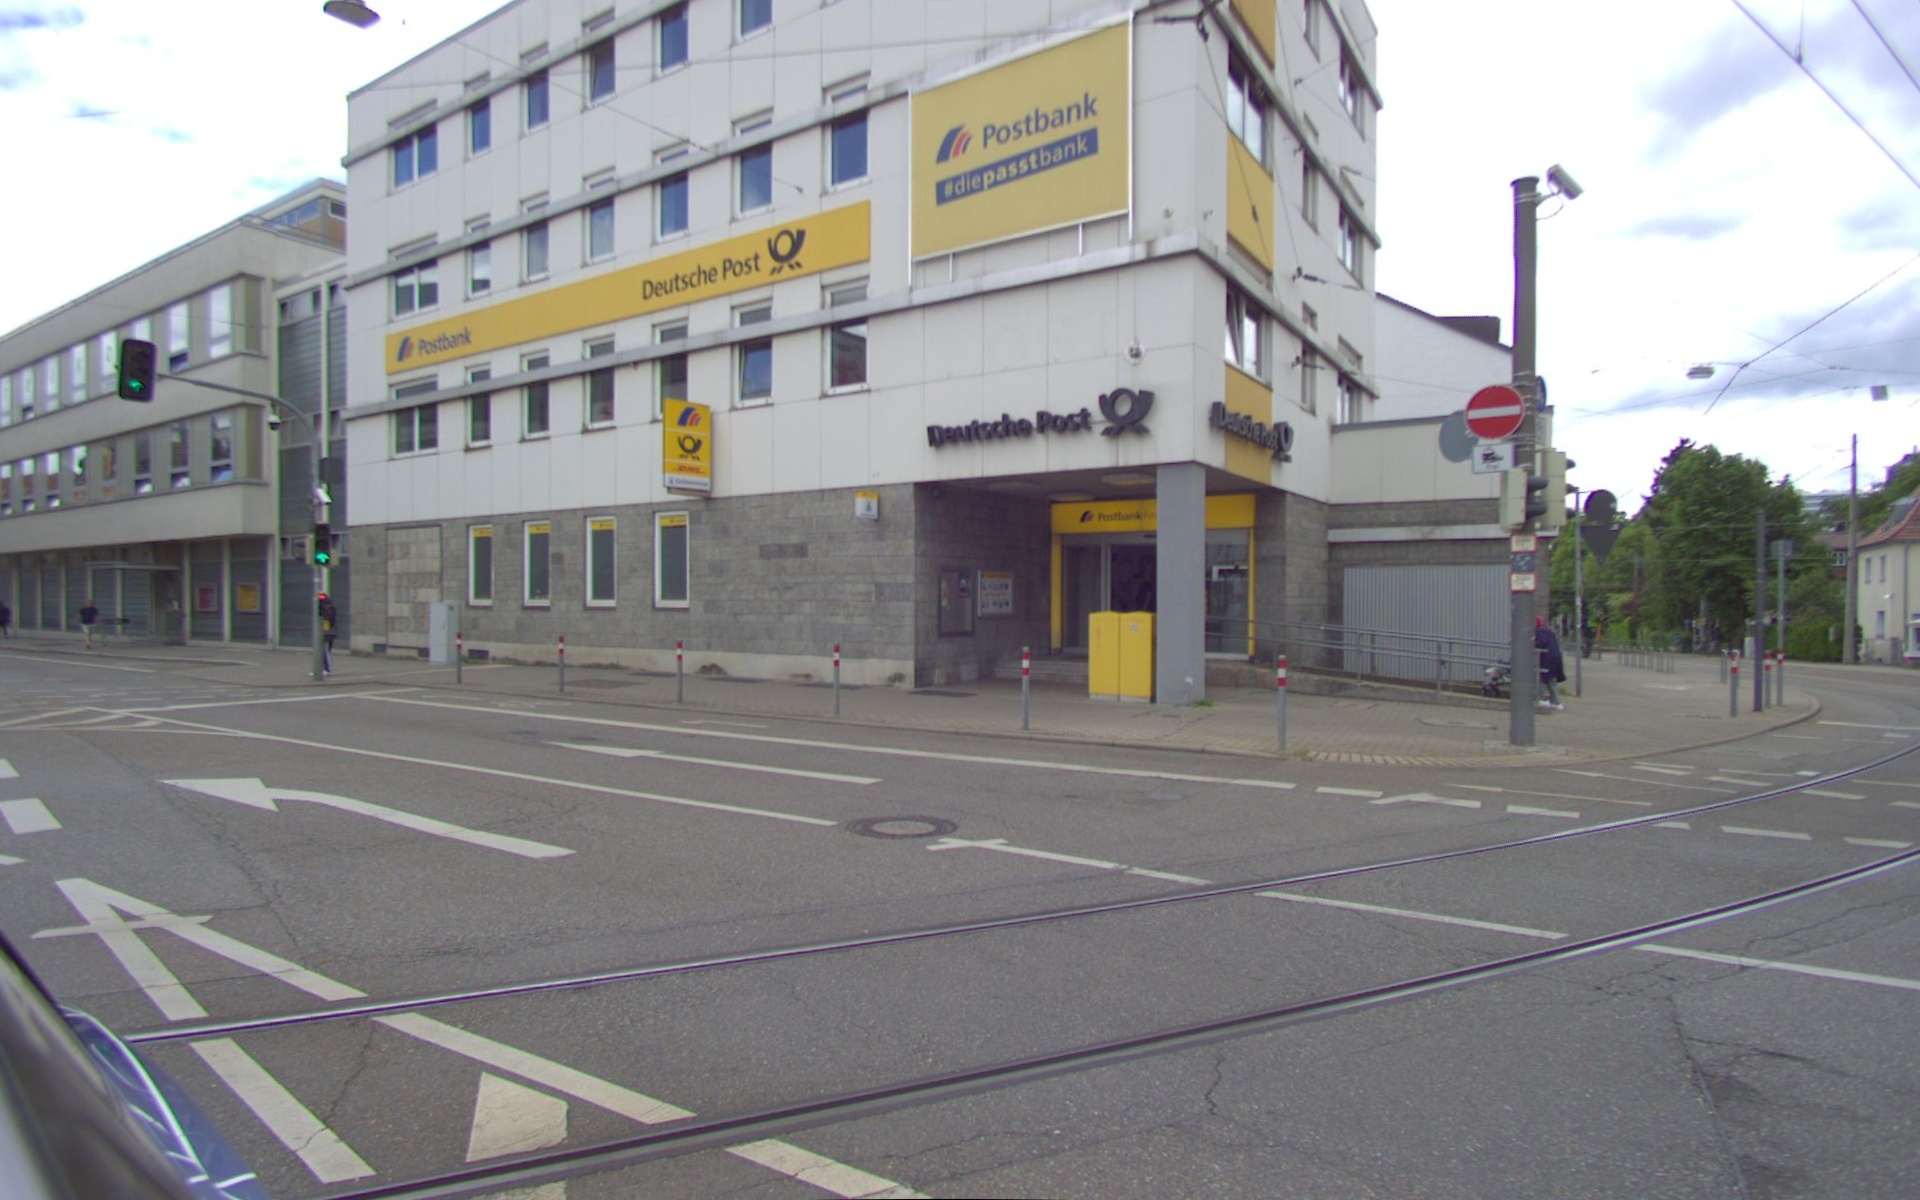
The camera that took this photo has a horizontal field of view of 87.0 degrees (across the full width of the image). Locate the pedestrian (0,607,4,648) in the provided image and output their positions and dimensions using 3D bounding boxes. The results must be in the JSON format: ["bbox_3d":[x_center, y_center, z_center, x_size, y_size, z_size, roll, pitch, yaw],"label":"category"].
[{"bbox_3d":[-43.221,1.260,45.196,0.525,1.816,0.581,-1,2,34],"label":"pedestrian"}]

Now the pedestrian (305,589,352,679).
[{"bbox_3d":[-13.171,0.708,21.120,0.525,1.816,0.581,-1,2,34],"label":"pedestrian"}]

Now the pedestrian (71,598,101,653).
[{"bbox_3d":[-30.105,0.871,34.860,0.525,1.816,0.581,-1,2,34],"label":"pedestrian"}]

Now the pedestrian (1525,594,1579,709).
[{"bbox_3d":[8.857,0.750,15.128,0.613,1.647,0.581,2,1,34],"label":"pedestrian"}]

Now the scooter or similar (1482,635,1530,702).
[{"bbox_3d":[8.354,1.032,15.474,0.615,0.984,0.503,-1,0,31],"label":"scooter or similar"}]

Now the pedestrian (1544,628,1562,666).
[{"bbox_3d":[26.562,2.102,45.343,0.612,1.646,0.689,-1,2,28],"label":"pedestrian"}]
